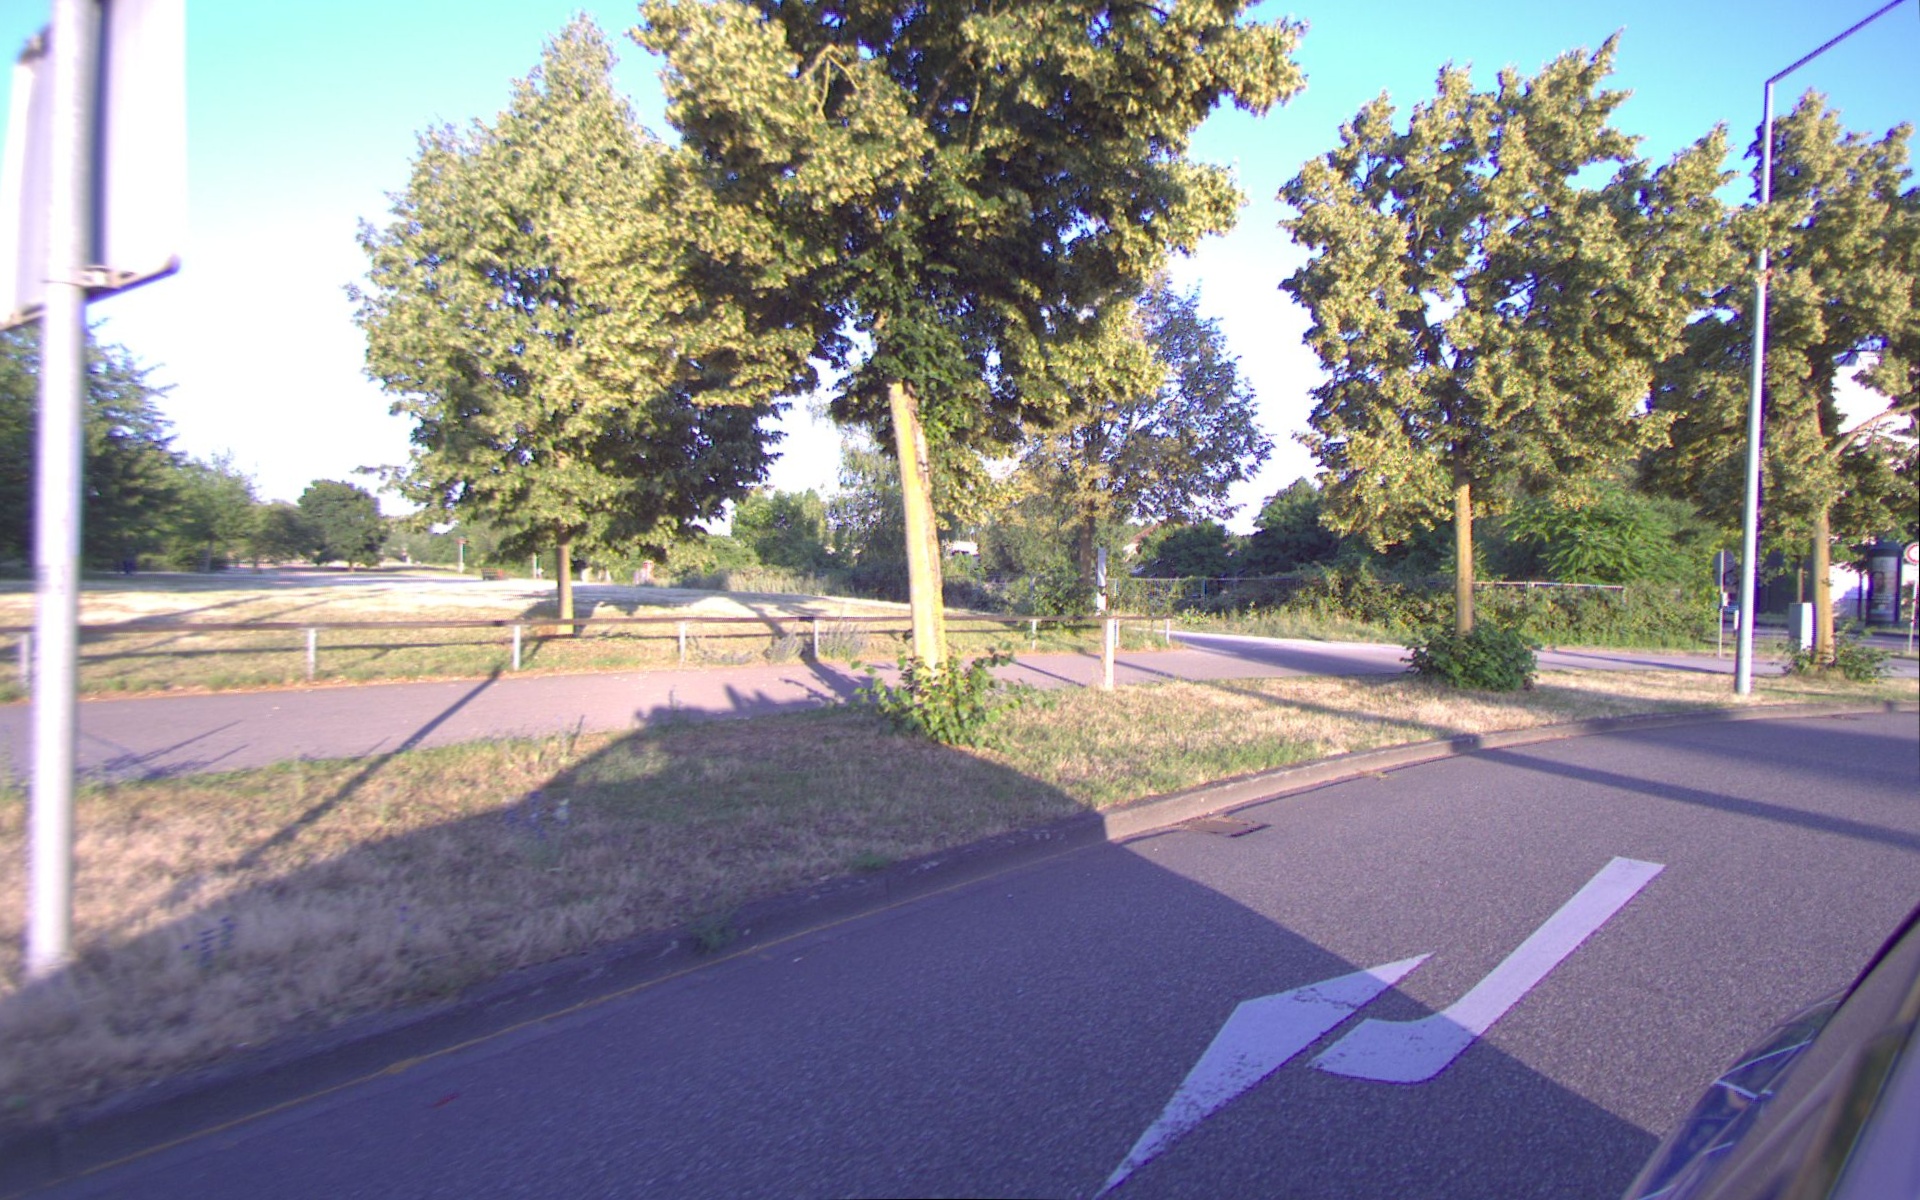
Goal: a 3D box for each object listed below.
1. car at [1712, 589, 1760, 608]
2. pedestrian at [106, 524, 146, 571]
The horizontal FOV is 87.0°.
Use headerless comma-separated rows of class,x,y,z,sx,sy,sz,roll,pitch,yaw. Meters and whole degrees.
car,71.227,-0.155,93.008,1.971,1.566,4.113,2,1,14
pedestrian,-34.323,-2.139,41.655,0.892,1.887,1.107,1,1,-17
